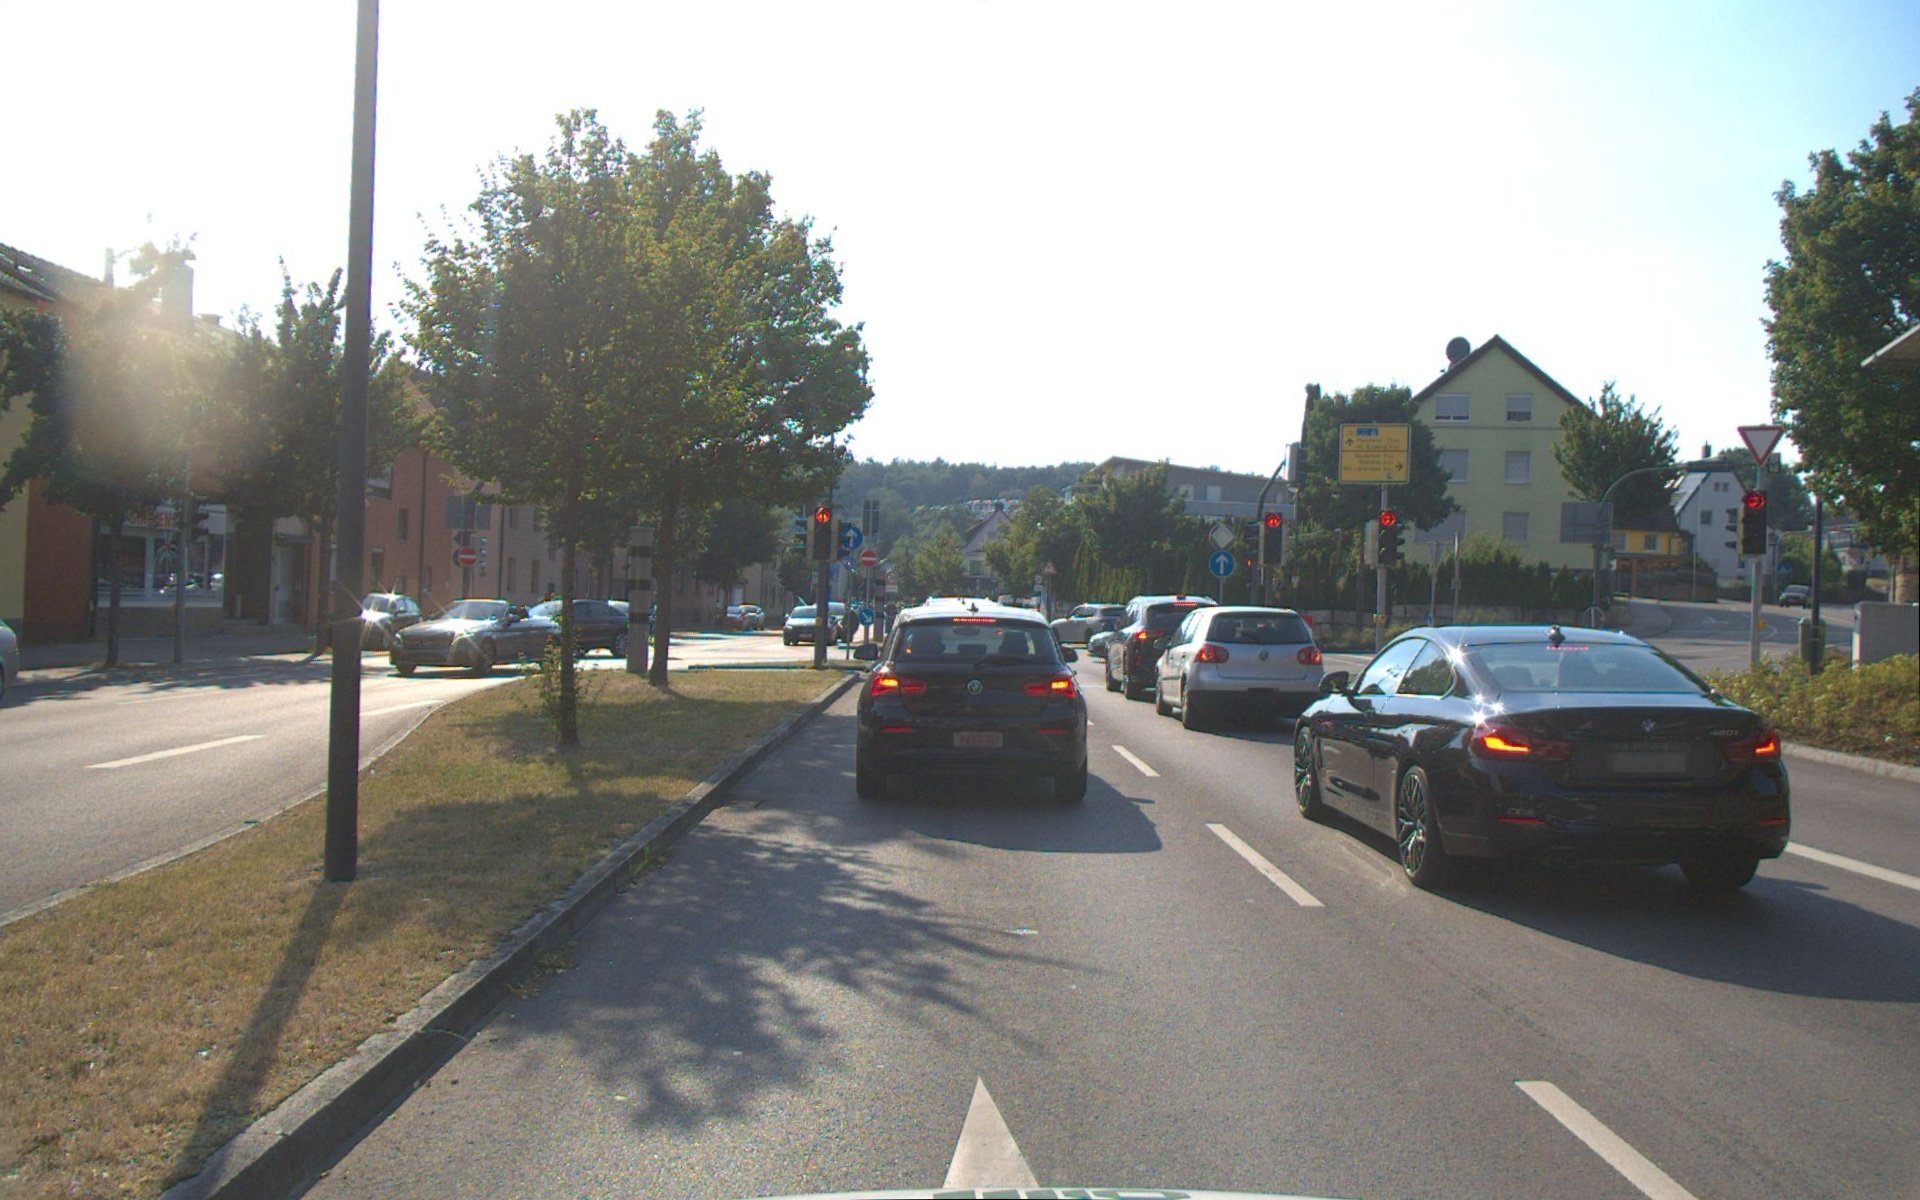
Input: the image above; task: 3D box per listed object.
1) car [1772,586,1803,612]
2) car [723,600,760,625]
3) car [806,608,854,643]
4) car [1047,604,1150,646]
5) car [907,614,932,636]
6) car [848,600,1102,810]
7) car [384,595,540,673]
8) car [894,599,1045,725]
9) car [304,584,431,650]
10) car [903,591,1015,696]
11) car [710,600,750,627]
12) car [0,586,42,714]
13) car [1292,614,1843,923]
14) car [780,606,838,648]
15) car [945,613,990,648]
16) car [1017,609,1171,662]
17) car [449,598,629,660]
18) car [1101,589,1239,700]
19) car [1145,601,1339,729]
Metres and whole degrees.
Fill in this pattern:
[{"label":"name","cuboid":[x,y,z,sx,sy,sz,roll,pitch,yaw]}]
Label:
[{"label":"car","cuboid":[58.676,-0.083,117.243,1.753,1.533,4.063,2,4,30]},{"label":"car","cuboid":[-14.494,0.821,109.918,1.884,1.624,4.000,1,0,1]},{"label":"car","cuboid":[-5.458,1.059,69.733,1.658,1.377,4.000,1,0,1]},{"label":"car","cuboid":[5.302,0.956,63.968,1.839,1.511,4.620,1,0,-26]},{"label":"car","cuboid":[-3.166,1.920,129.021,1.885,1.624,3.999,1,0,-1]},{"label":"car","cuboid":[0.123,0.737,13.766,1.754,1.439,4.347,1,0,0]},{"label":"car","cuboid":[-9.555,0.618,32.092,1.744,1.373,4.477,1,0,-1]},{"label":"car","cuboid":[0.128,0.740,21.827,1.779,1.476,4.242,1,0,0]},{"label":"car","cuboid":[-15.918,0.442,44.623,1.805,1.579,4.001,3,0,2]},{"label":"car","cuboid":[-0.001,0.696,28.781,1.779,1.670,4.242,1,0,0]},{"label":"car","cuboid":[-14.509,0.821,104.412,1.884,1.624,4.000,1,0,1]},{"label":"car","cuboid":[-12.009,0.569,17.783,1.652,1.488,4.711,1,0,0]},{"label":"car","cuboid":[3.339,0.821,10.077,1.779,1.413,4.347,1,0,0]},{"label":"car","cuboid":[-5.644,1.000,62.119,1.730,1.484,4.000,1,0,1]},{"label":"car","cuboid":[0.355,1.575,86.269,1.854,1.732,4.517,0,0,-6]},{"label":"car","cuboid":[3.773,0.997,46.891,4.095,1.411,1.648,1,0,-6]},{"label":"car","cuboid":[-10.501,0.713,41.656,1.807,1.446,4.639,1,0,26]},{"label":"car","cuboid":[3.439,0.689,27.784,1.779,1.695,4.347,1,0,0]},{"label":"car","cuboid":[3.526,0.757,21.425,1.779,1.471,4.347,1,0,0]}]
